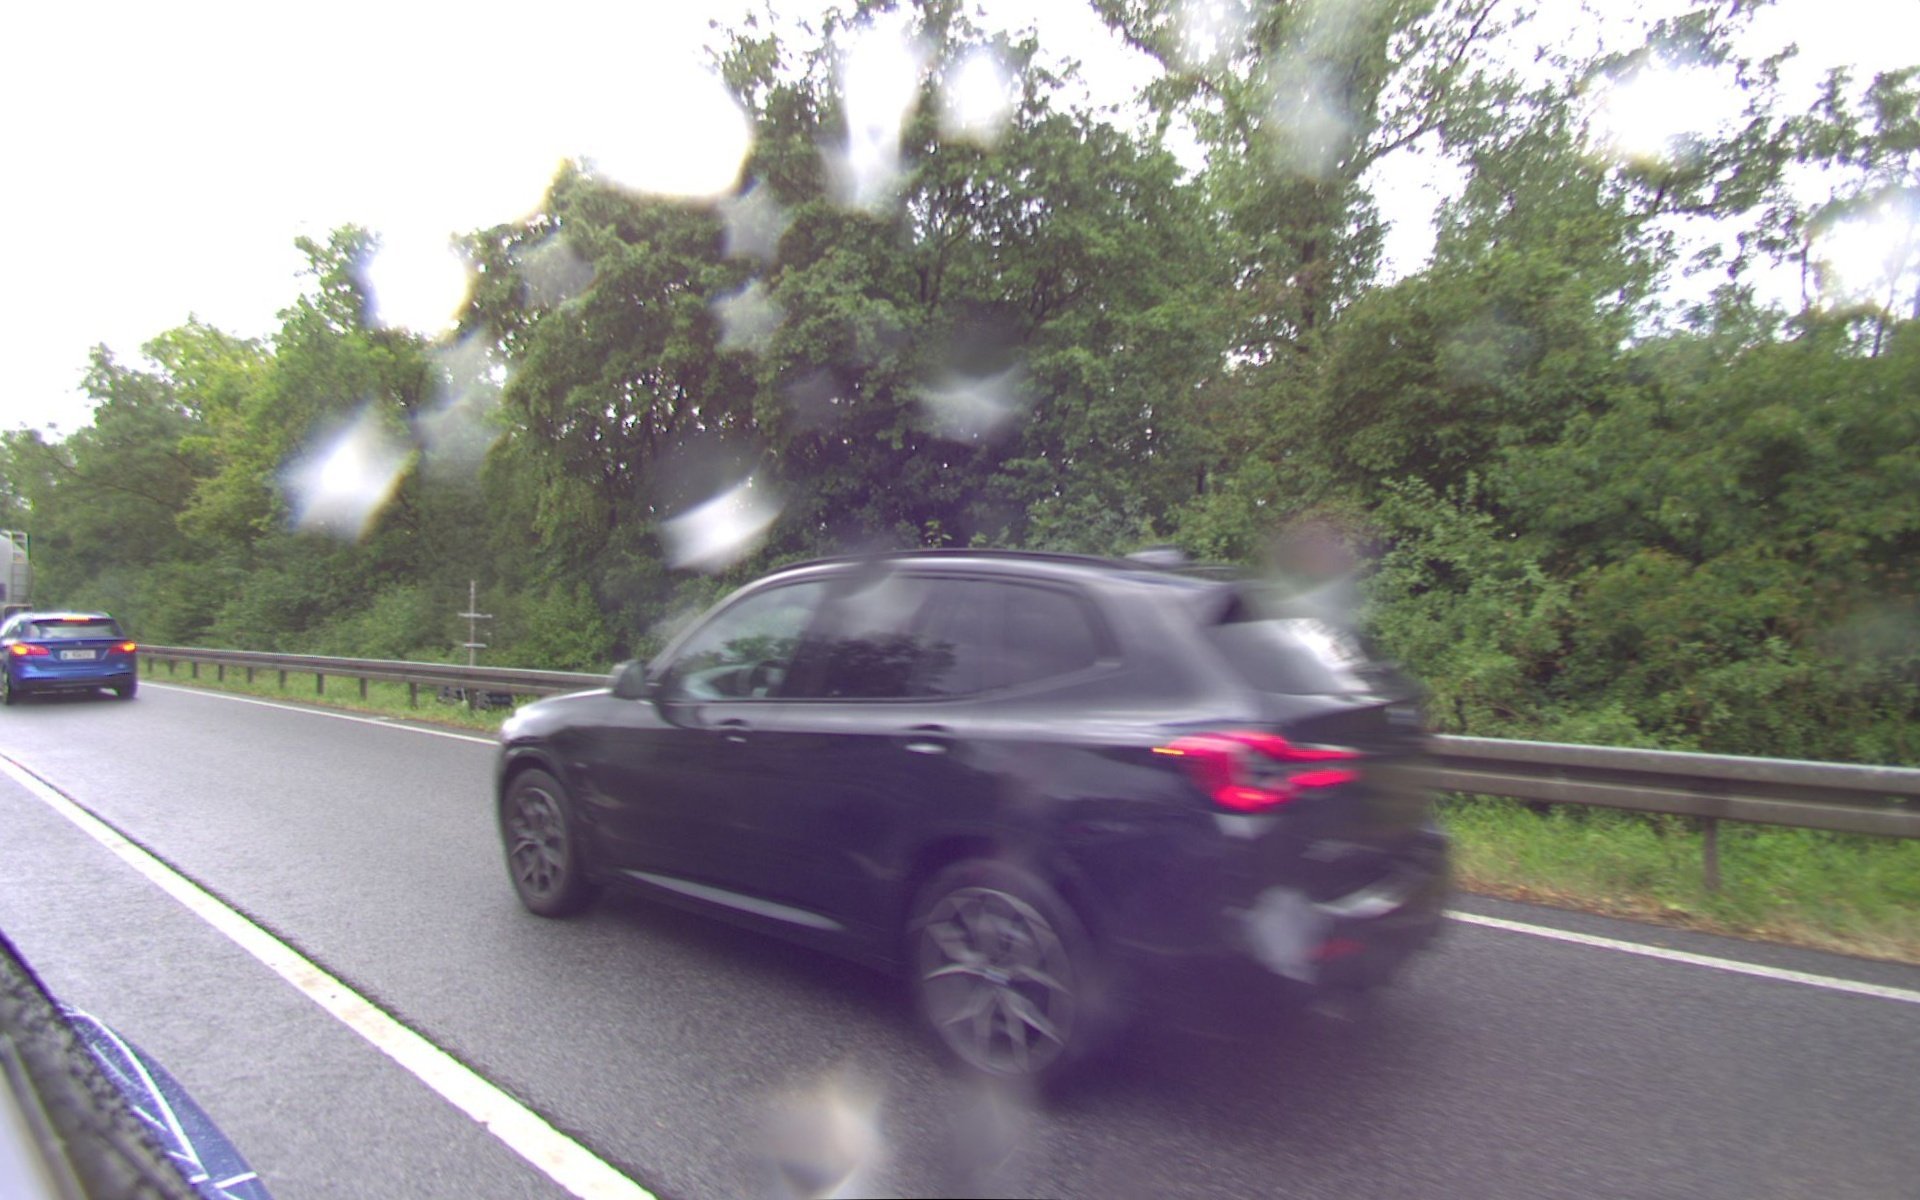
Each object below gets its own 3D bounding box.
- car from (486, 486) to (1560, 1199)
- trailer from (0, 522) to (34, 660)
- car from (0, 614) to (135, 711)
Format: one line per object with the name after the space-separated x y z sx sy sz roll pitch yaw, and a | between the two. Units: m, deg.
-0.119 0.608 4.269 4.296 1.656 1.828 -1 0 41 | car
-30.055 -0.228 30.185 7.784 3.854 2.511 0 0 39 | trailer
-16.430 1.041 18.259 3.909 1.527 1.690 0 0 40 | car
